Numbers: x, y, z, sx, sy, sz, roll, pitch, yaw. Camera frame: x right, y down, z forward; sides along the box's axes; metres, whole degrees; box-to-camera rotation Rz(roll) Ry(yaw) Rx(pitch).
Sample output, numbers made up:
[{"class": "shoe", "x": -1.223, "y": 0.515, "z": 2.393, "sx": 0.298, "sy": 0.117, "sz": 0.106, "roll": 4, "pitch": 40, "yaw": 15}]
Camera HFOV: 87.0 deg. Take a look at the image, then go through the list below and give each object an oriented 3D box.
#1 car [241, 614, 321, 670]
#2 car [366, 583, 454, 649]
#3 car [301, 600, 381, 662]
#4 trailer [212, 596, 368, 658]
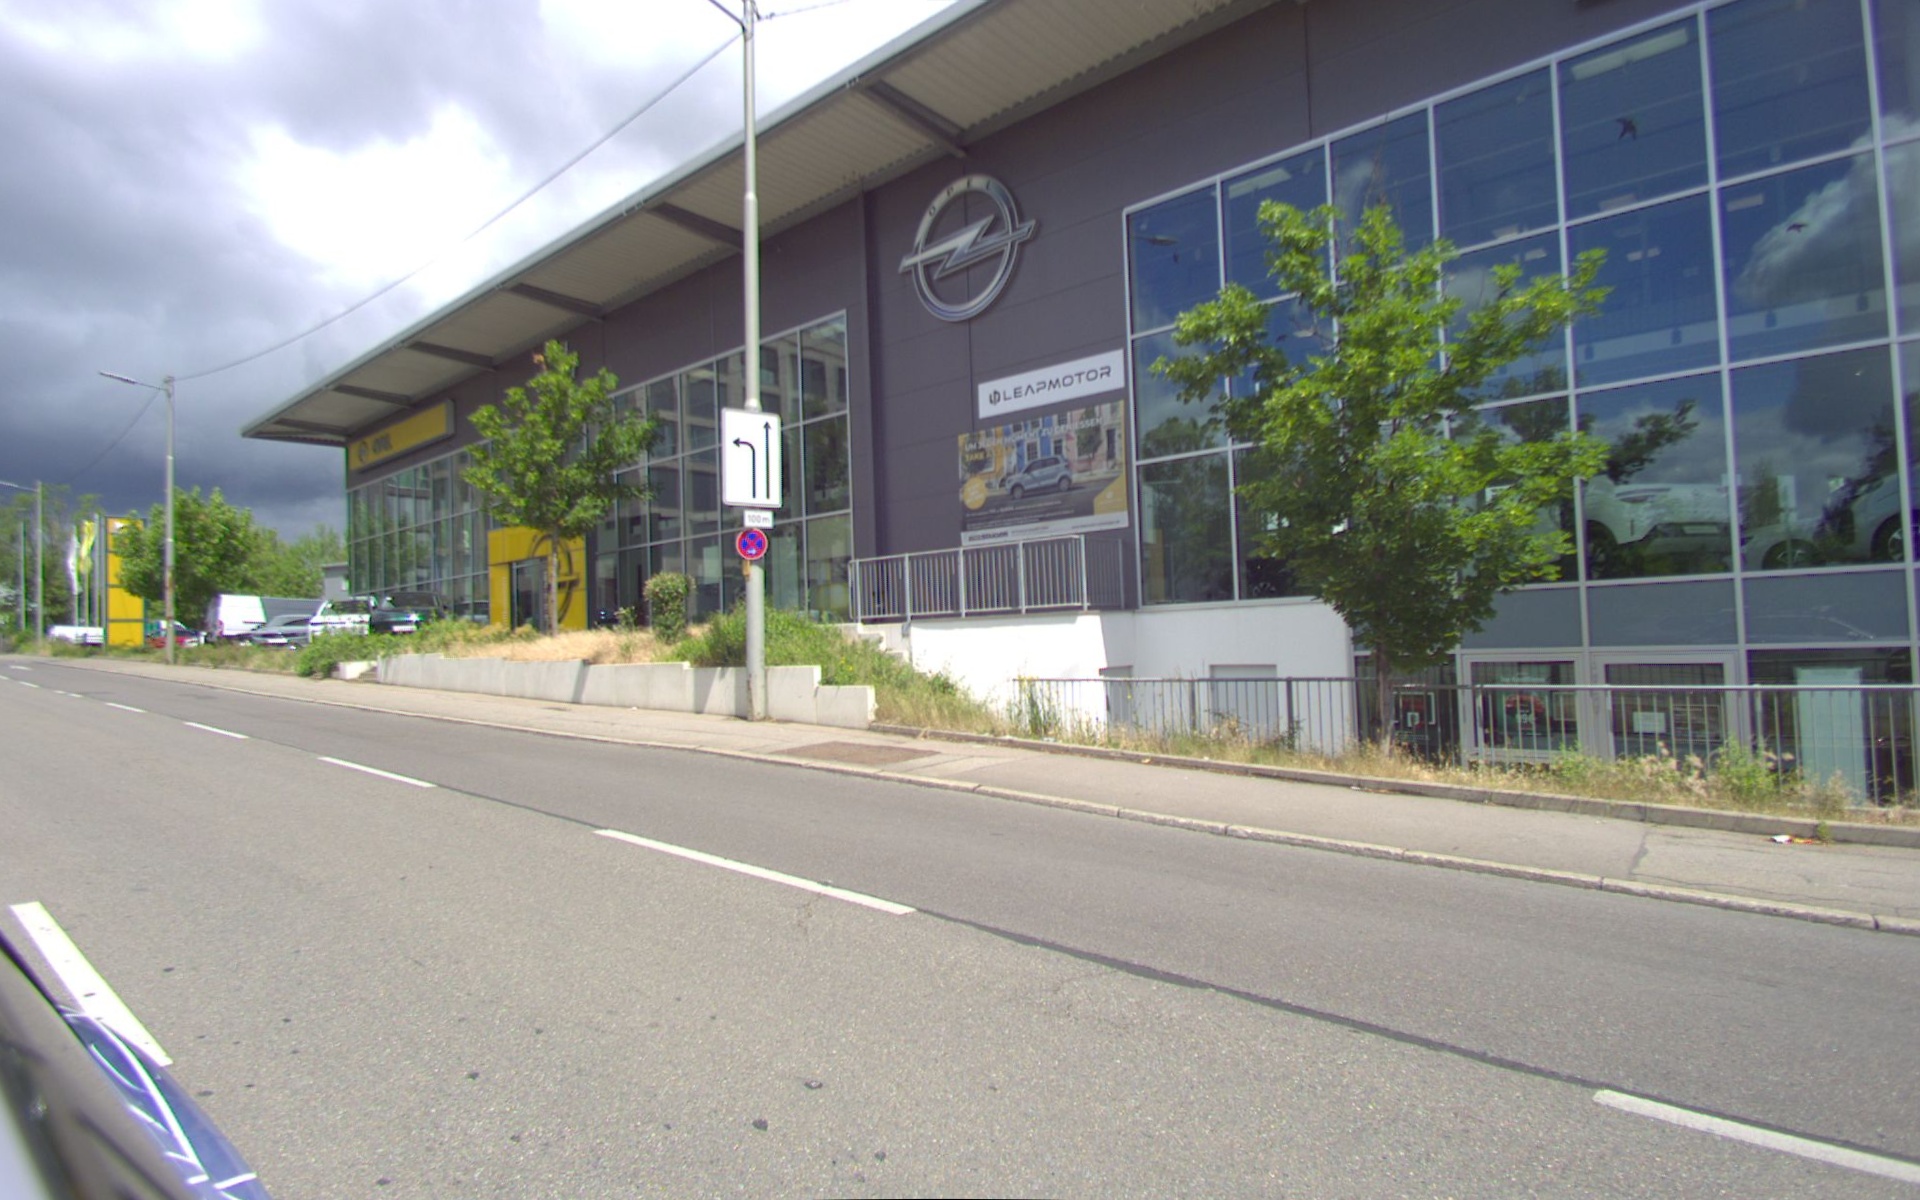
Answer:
[{"class": "car", "x": -23.489, "y": 1.409, "z": 35.144, "sx": 1.966, "sy": 1.807, "sz": 4.012, "roll": 1, "pitch": -1, "yaw": -29}, {"class": "car", "x": -15.697, "y": 0.474, "z": 28.795, "sx": 1.966, "sy": 1.741, "sz": 4.011, "roll": 1, "pitch": -2, "yaw": -31}, {"class": "car", "x": -19.223, "y": 0.950, "z": 31.583, "sx": 1.966, "sy": 1.807, "sz": 4.012, "roll": 1, "pitch": -2, "yaw": -29}, {"class": "trailer", "x": -27.436, "y": 1.088, "z": 41.597, "sx": 1.998, "sy": 2.367, "sz": 5.011, "roll": -1, "pitch": -2, "yaw": 39}]
